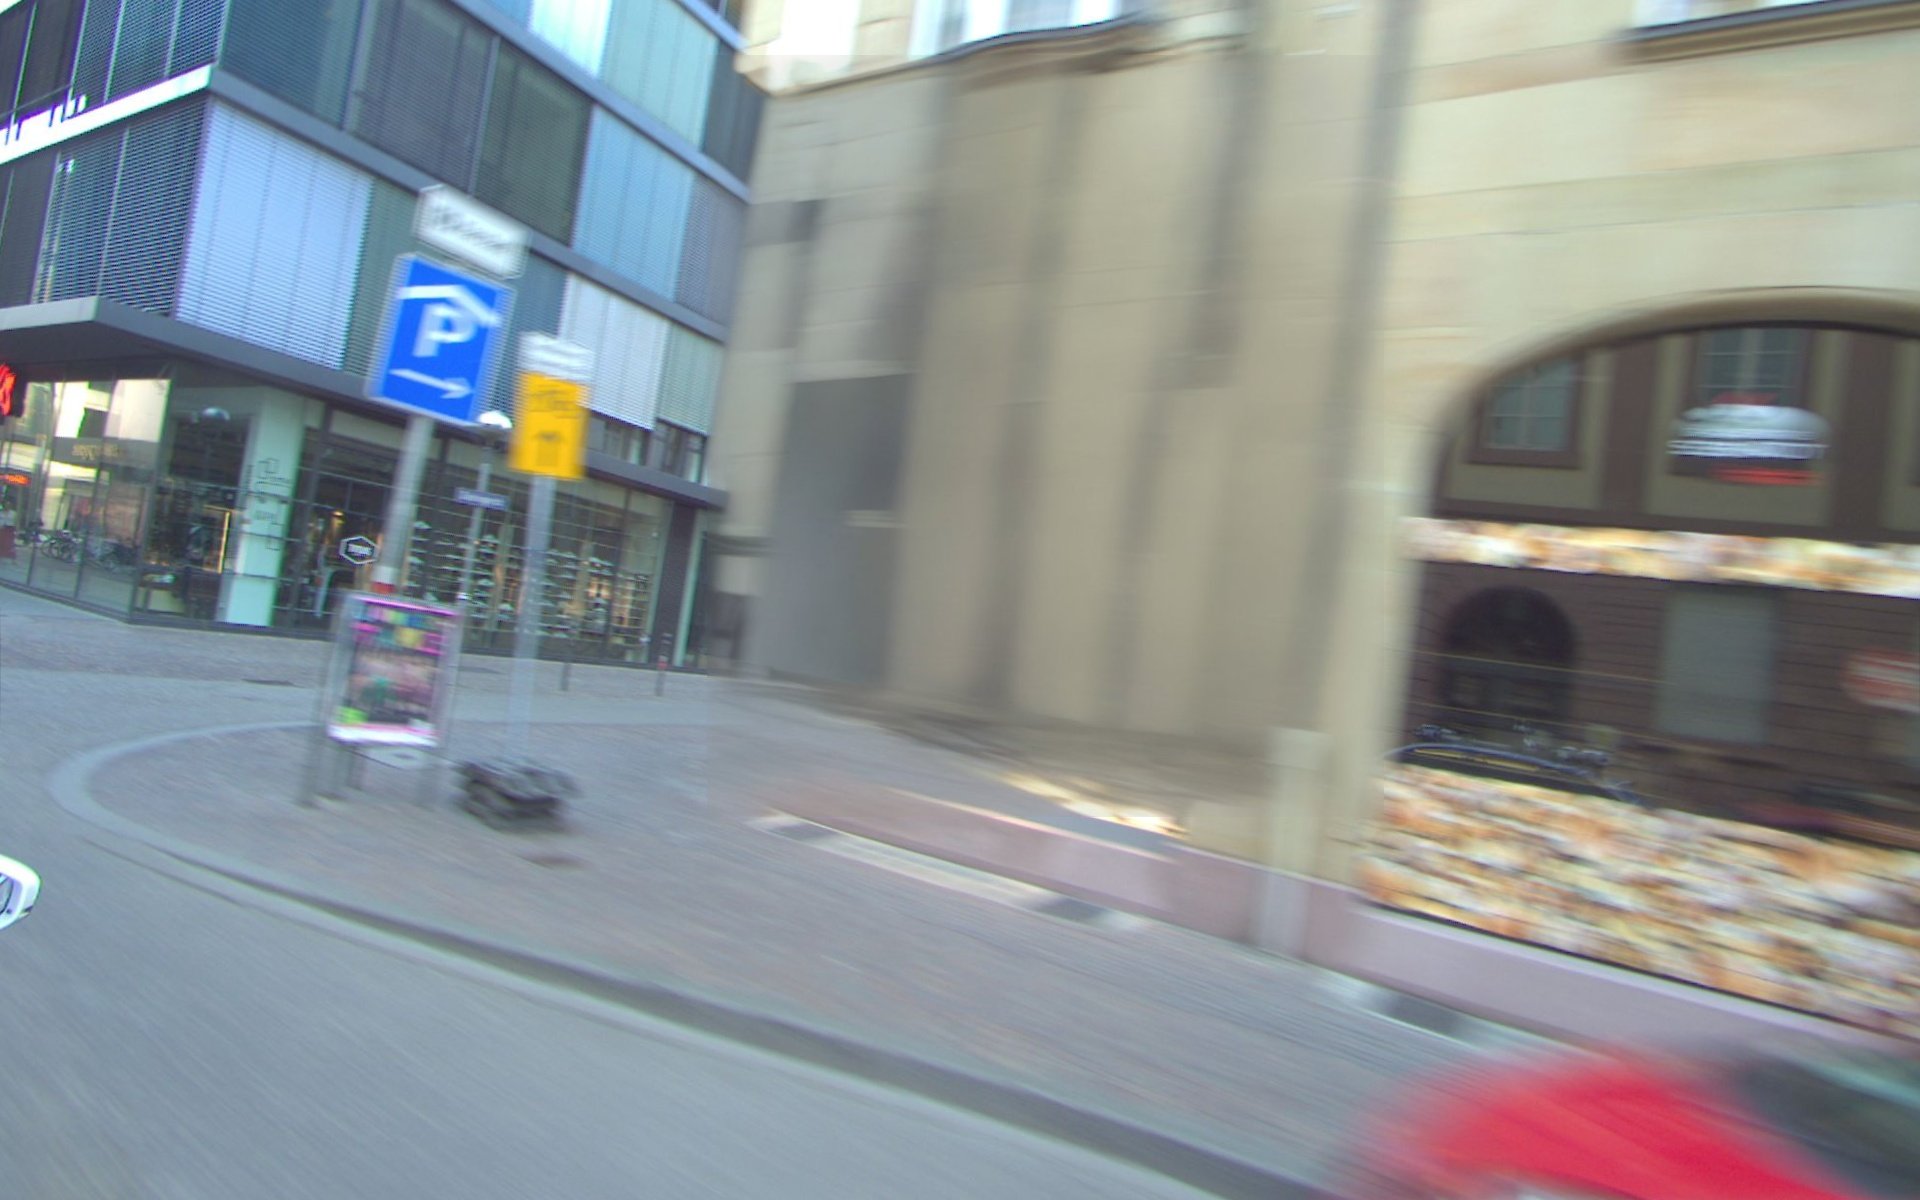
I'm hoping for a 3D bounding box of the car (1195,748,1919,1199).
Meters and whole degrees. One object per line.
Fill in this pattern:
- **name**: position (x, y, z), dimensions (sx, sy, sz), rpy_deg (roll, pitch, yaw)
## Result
- **car**: position (2.277, 1.285, 1.378), dimensions (3.538, 1.438, 1.621), rpy_deg (7, -7, 33)
